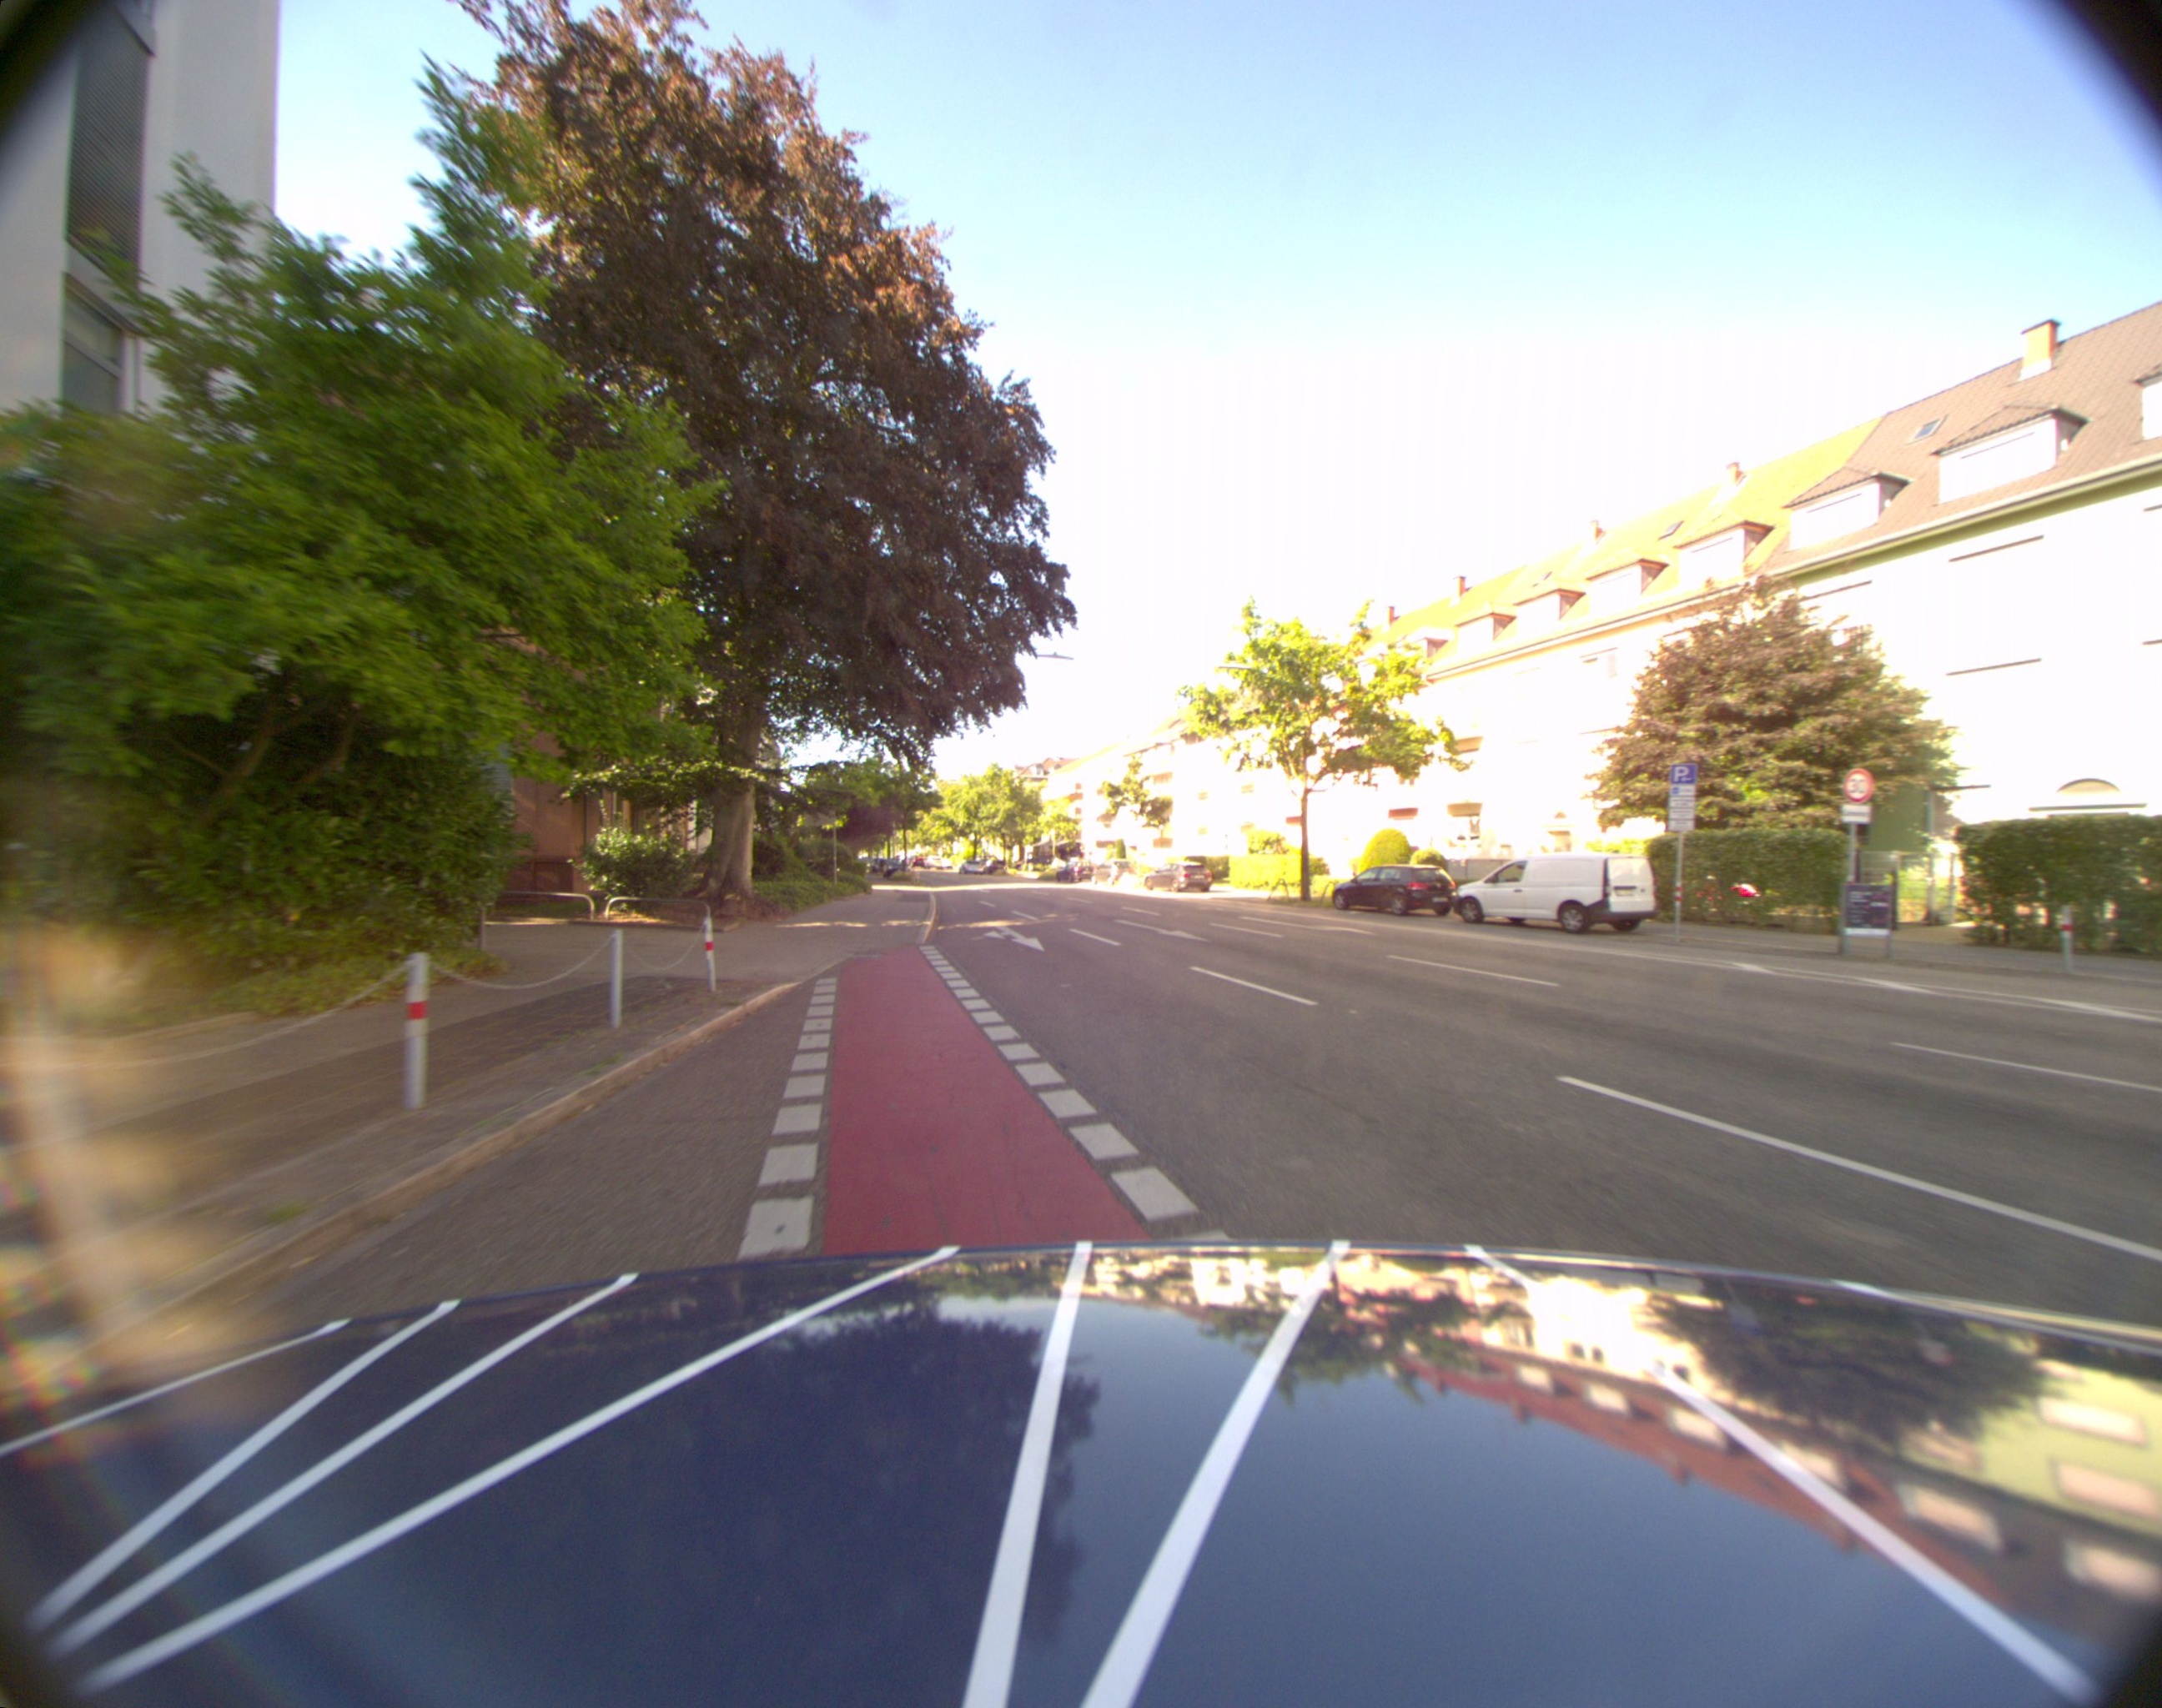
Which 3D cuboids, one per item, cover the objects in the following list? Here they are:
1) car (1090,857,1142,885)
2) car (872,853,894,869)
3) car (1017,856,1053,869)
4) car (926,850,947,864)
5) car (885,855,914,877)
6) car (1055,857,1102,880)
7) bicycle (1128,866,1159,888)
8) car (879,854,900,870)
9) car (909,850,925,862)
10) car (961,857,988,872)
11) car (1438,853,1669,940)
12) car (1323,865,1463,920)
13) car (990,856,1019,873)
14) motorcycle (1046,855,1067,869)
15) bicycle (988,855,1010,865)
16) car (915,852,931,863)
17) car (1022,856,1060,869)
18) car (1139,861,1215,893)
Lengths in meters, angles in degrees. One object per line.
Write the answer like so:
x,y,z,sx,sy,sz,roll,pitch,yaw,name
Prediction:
2.033,0.967,45.354,1.682,1.516,3.651,-2,1,-22,car
-19.801,0.664,75.869,1.721,1.480,4.226,1,0,-20,car
-5.274,0.961,86.975,3.997,1.447,1.733,0,0,0,car
-18.181,0.418,95.500,1.814,1.638,4.664,3,-1,-19,car
-13.202,0.854,55.144,1.566,1.506,3.648,2,-1,-20,car
-0.212,0.965,51.492,1.793,1.484,4.485,0,0,-20,car
3.302,1.218,40.249,1.550,1.127,0.547,1,0,-20,bicycle
-17.849,0.746,70.593,1.618,1.375,3.969,1,0,-18,car
-26.317,0.321,121.893,1.811,1.899,4.704,3,-1,-19,car
-10.051,0.979,71.509,1.745,1.373,3.930,2,-1,-19,car
11.131,0.882,18.337,1.826,1.823,4.554,0,0,-20,car
9.331,1.086,23.098,1.678,1.448,4.104,0,0,-18,car
-7.375,0.982,73.066,1.729,1.527,4.672,-1,1,-19,car
-2.687,0.848,81.971,2.158,1.477,0.780,-1,0,-10,motorcycle
-11.131,0.802,103.100,0.949,1.255,3.182,3,2,37,bicycle
-23.667,0.496,113.978,1.726,1.556,4.335,3,-1,-19,car
-4.468,0.925,84.034,4.000,1.452,1.731,-1,0,-10,car
4.588,1.068,36.929,1.775,1.400,4.358,0,0,-22,car
